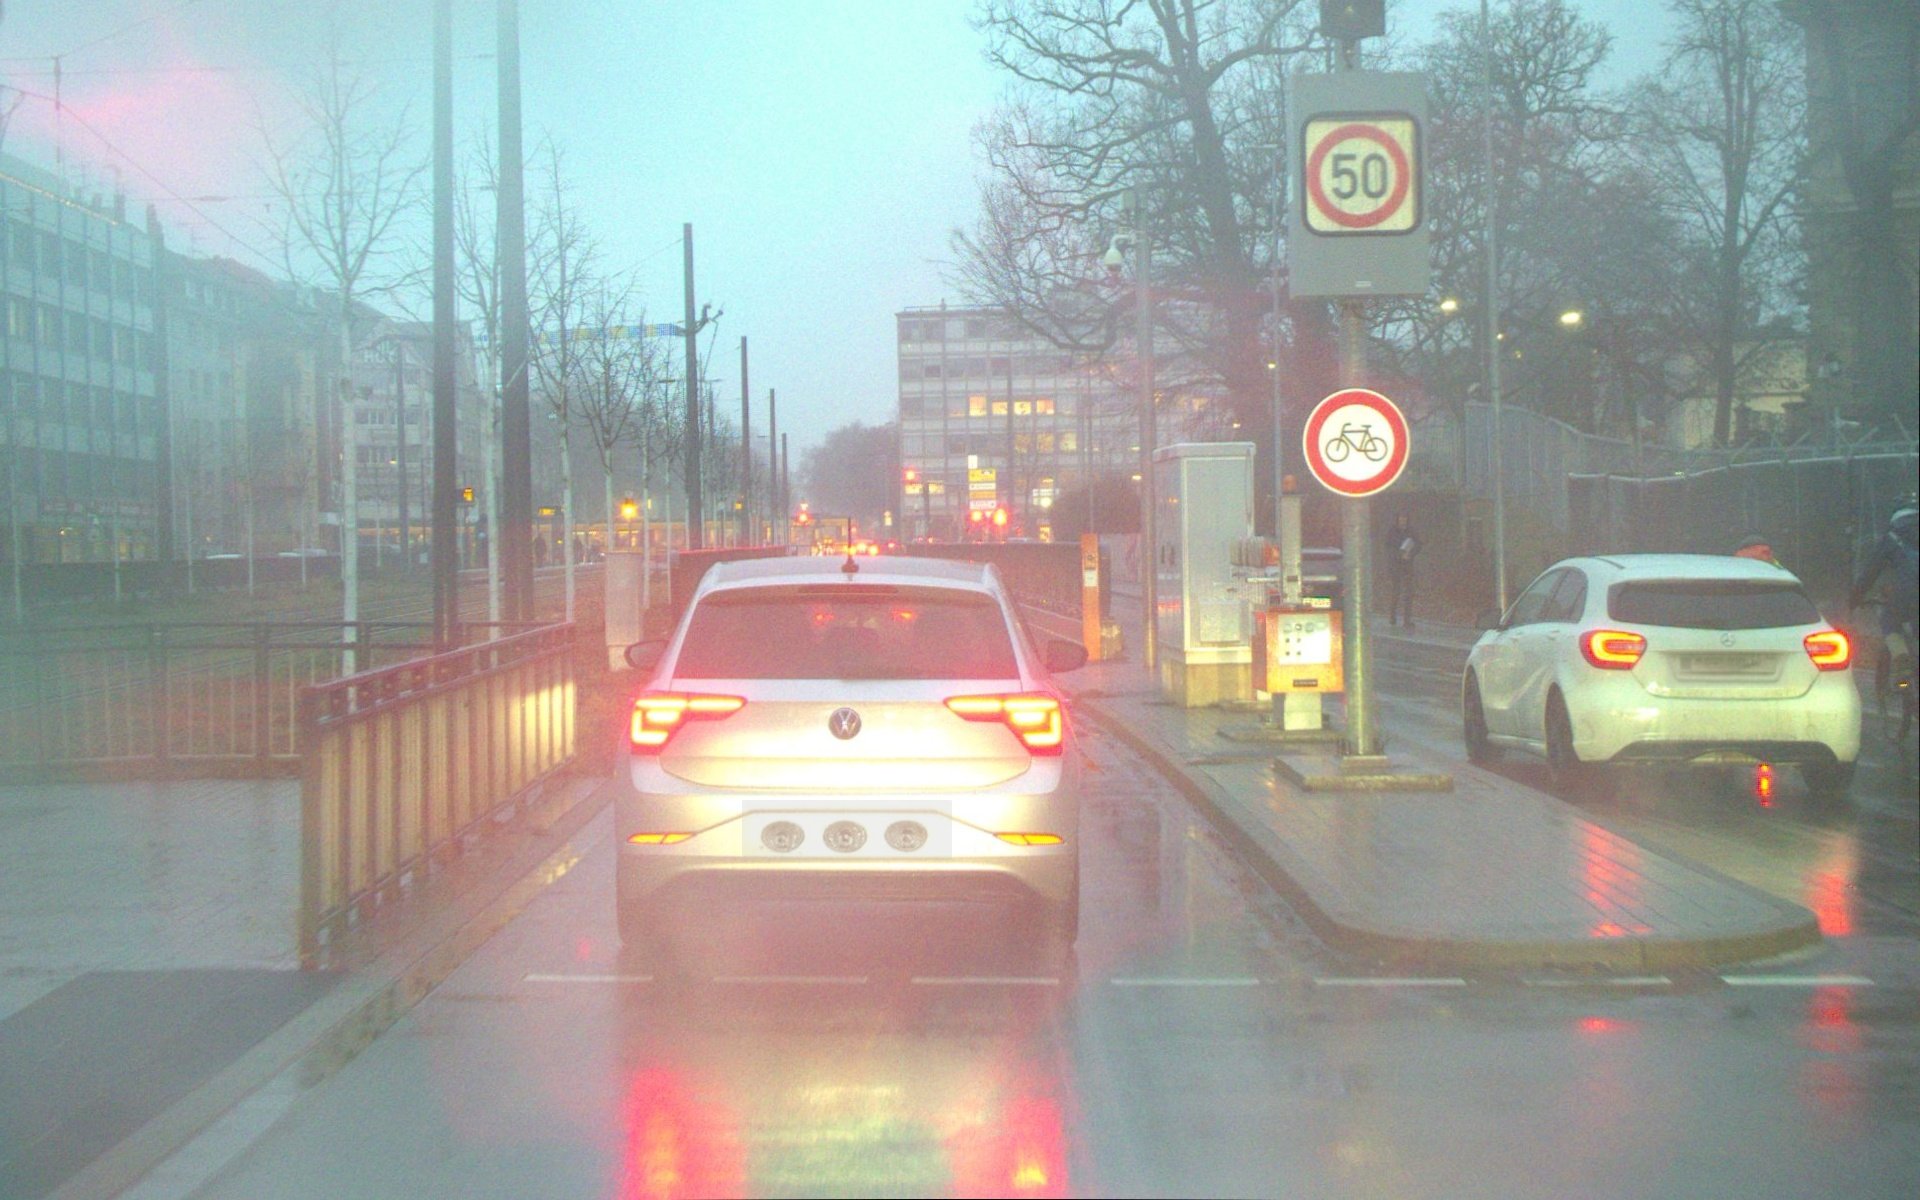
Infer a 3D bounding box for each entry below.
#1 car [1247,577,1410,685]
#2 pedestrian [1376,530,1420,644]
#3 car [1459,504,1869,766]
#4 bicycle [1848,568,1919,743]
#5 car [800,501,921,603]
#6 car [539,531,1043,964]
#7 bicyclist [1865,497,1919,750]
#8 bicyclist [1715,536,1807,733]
[{"bbox_3d":[4.690,0.370,44.160,1.623,1.295,4.000,1,0,0],"label":"car"},{"bbox_3d":[7.315,-0.226,57.476,0.531,1.873,0.901,-1,1,-3],"label":"pedestrian"},{"bbox_3d":[4.316,0.182,21.654,1.722,1.474,4.000,1,0,0],"label":"car"},{"bbox_3d":[6.817,0.384,24.339,0.411,1.181,2.029,-1,1,-3],"label":"bicycle"},{"bbox_3d":[-1.482,-0.717,52.349,1.722,1.474,4.000,1,0,0],"label":"car"},{"bbox_3d":[-0.595,0.510,13.907,1.722,1.474,4.000,1,0,0],"label":"car"},{"bbox_3d":[6.809,0.151,24.365,0.500,1.761,0.837,-1,1,-3],"label":"bicyclist"},{"bbox_3d":[6.626,0.274,28.459,0.500,1.586,0.837,-1,1,-3],"label":"bicyclist"}]
